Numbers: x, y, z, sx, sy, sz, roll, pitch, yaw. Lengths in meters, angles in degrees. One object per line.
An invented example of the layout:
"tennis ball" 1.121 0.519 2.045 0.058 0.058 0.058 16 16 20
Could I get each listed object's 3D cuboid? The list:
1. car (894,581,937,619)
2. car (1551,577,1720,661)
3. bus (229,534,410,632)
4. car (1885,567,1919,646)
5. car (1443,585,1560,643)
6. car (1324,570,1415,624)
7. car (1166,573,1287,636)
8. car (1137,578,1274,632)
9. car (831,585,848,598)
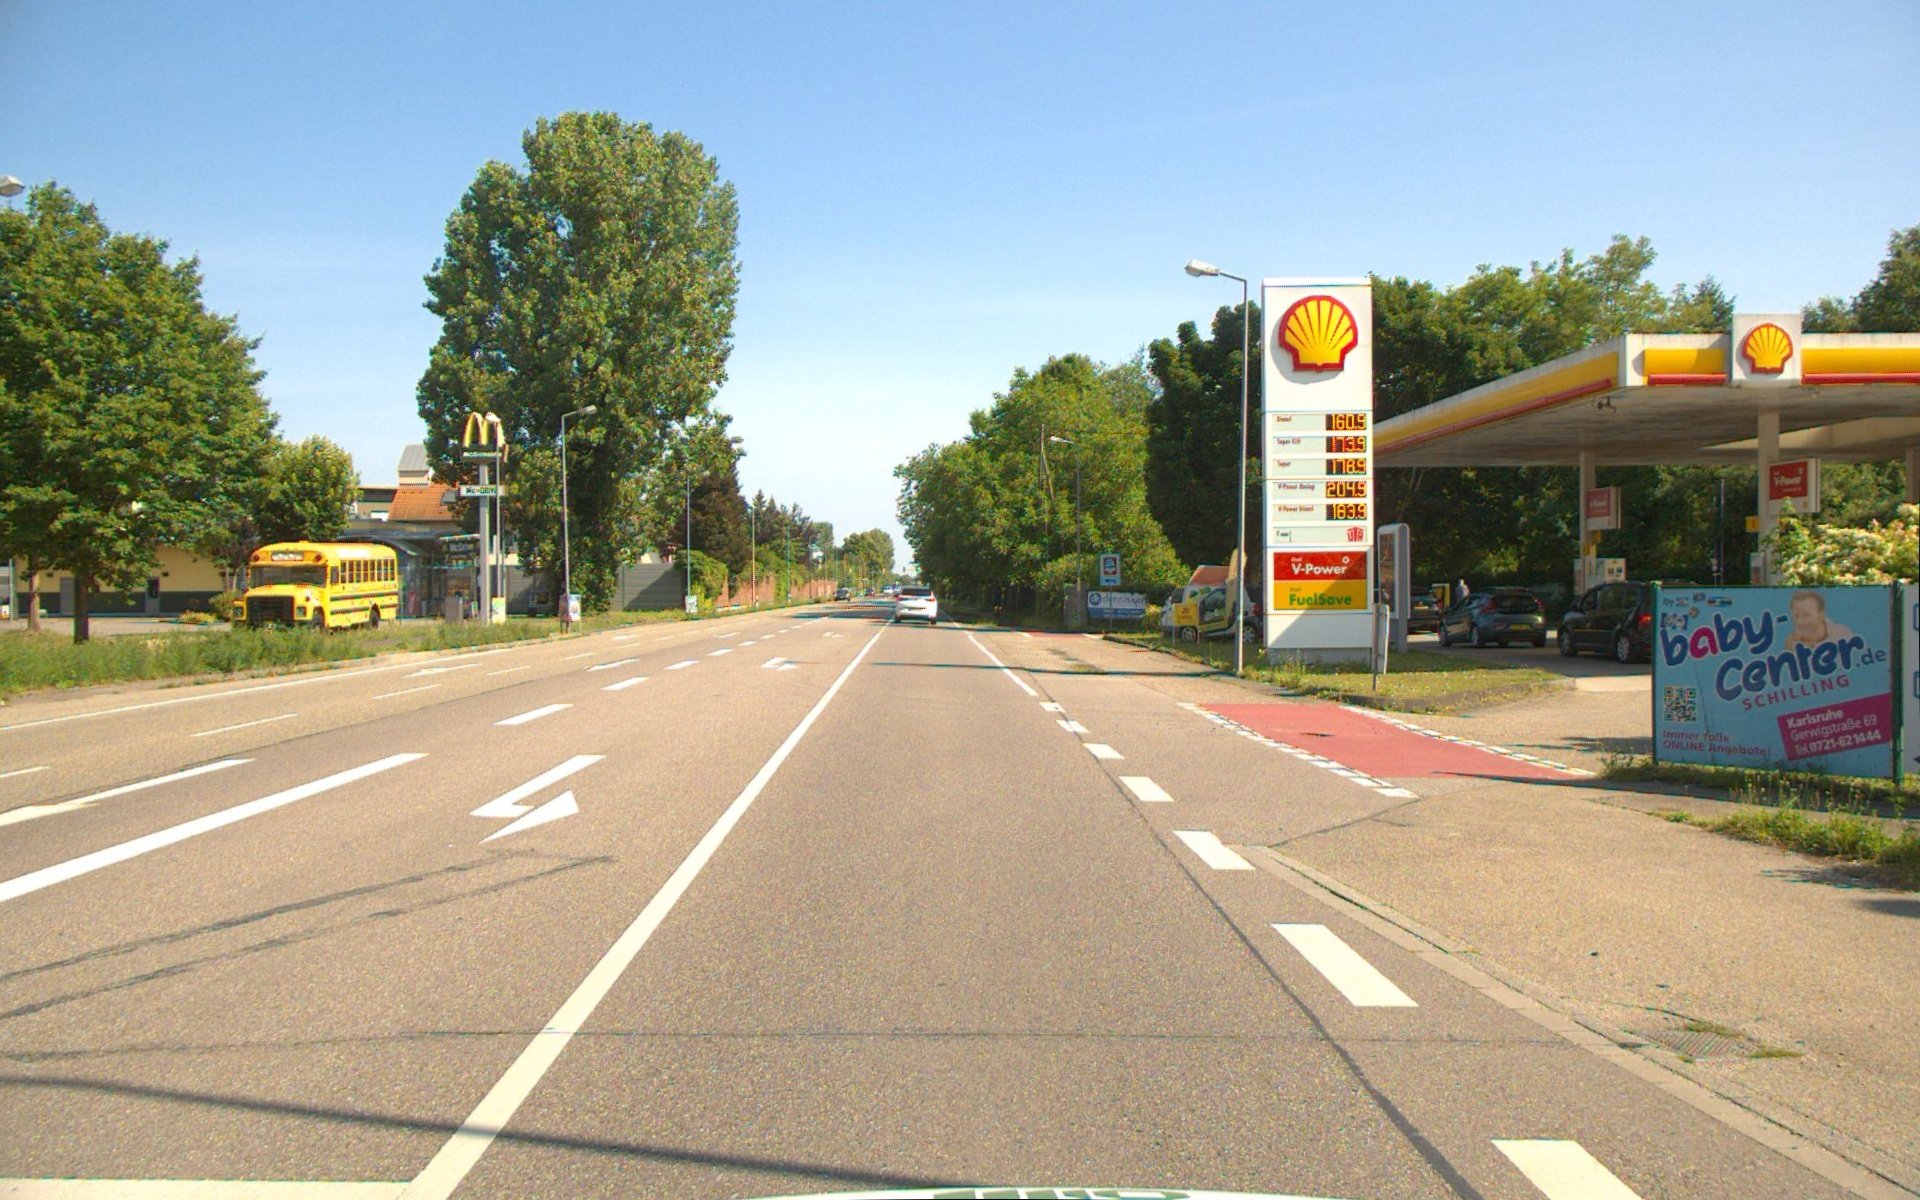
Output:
"car" -1.931 0.004 72.040 1.809 1.568 4.223 1 0 -1
"car" 13.807 0.350 34.027 1.724 1.606 3.875 -1 0 -3
"bus" -19.684 -0.486 51.482 2.528 2.726 8.991 1 0 -3
"car" 22.213 0.124 36.188 1.789 1.758 4.001 -1 0 2
"car" 13.631 0.320 41.849 1.760 1.384 3.849 -1 0 1
"car" 14.287 -0.094 57.922 1.954 1.796 3.997 1 0 -4
"car" 6.888 0.120 42.791 2.683 1.557 1.568 0 -1 43
"car" 7.643 0.150 51.584 3.913 1.557 1.583 1 0 -9
"car" -14.951 -1.037 204.799 1.809 1.522 4.910 -2 0 -1
